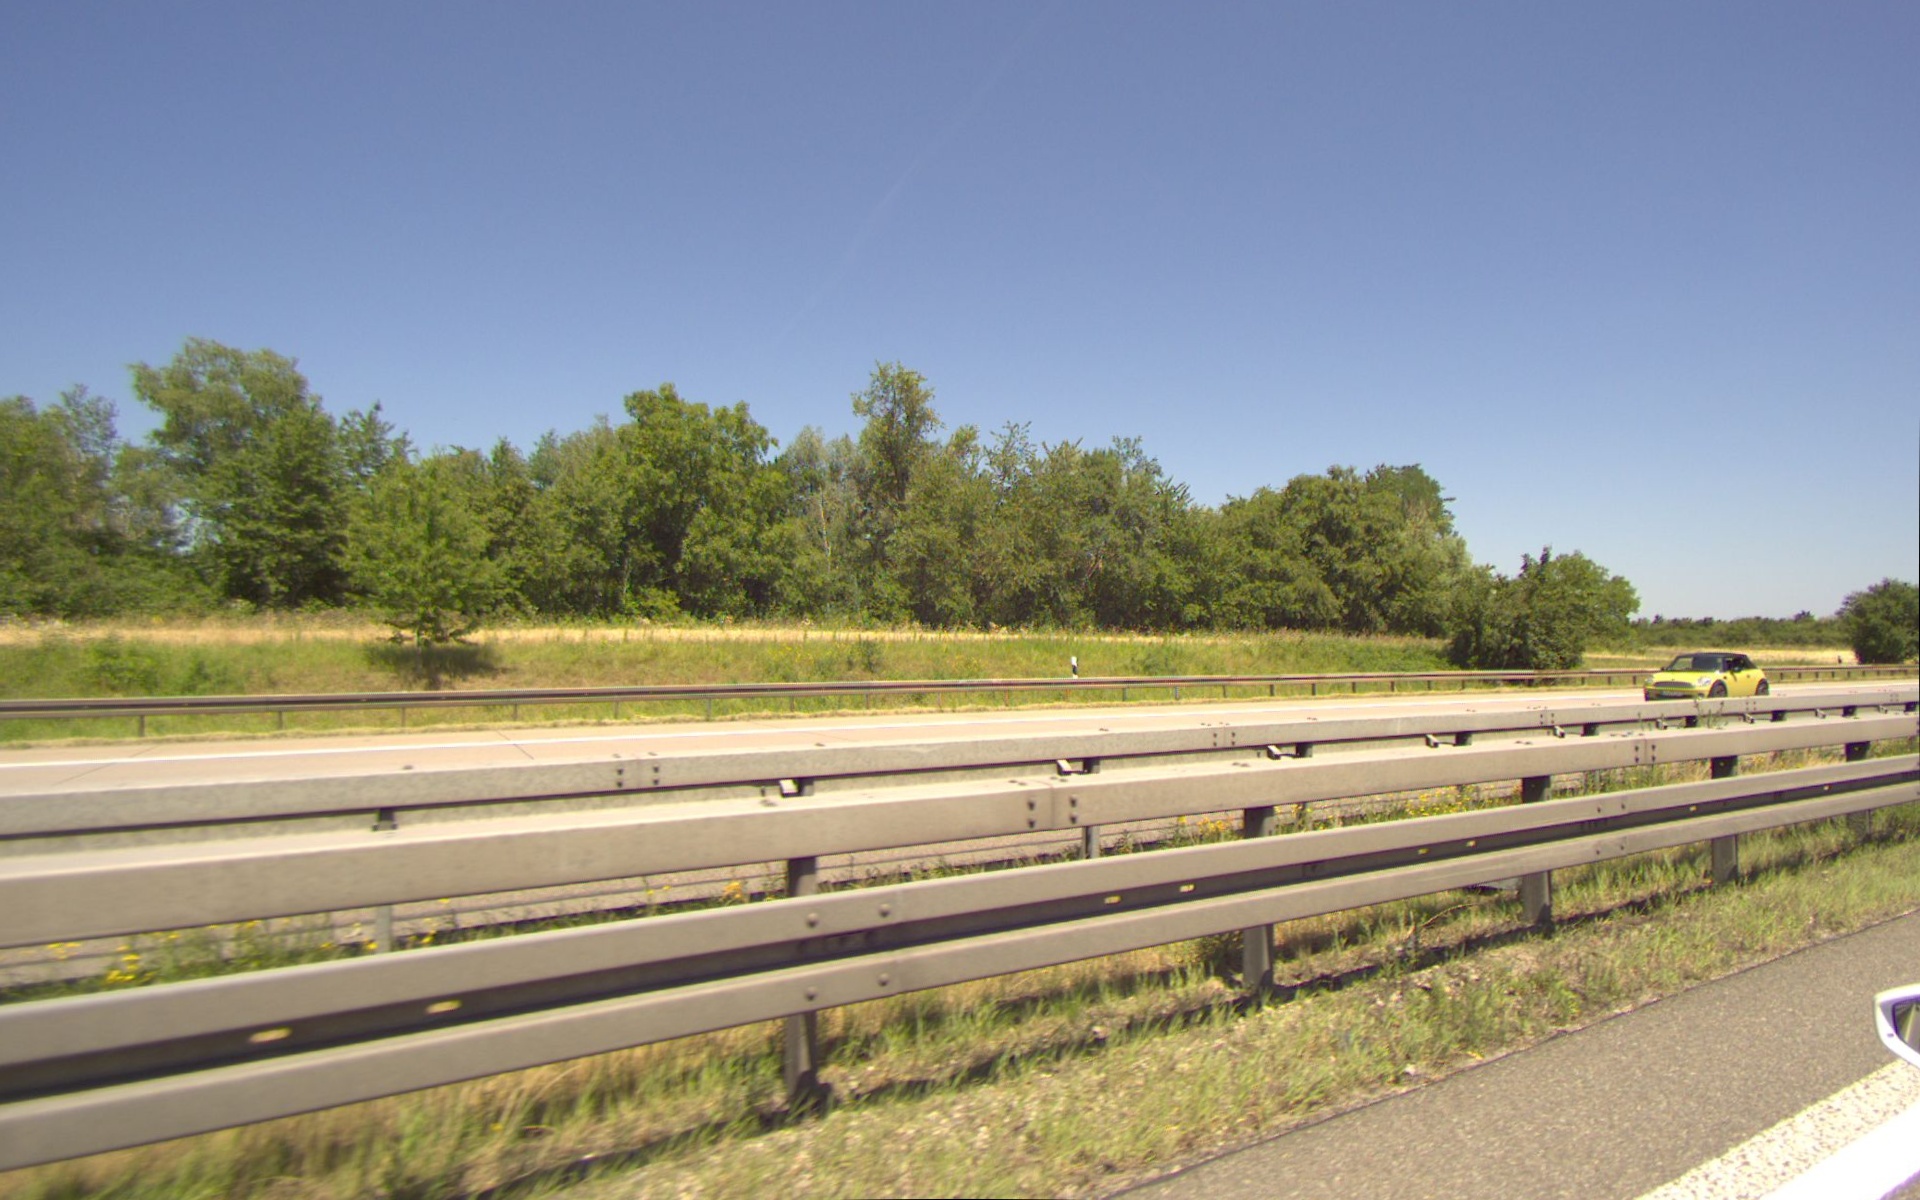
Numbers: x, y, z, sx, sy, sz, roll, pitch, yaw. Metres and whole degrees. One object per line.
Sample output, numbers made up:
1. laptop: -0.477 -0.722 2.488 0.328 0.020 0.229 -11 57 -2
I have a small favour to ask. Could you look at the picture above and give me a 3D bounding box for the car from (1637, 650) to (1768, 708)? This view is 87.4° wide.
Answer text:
1. car: 19.781 2.059 26.742 3.436 1.446 1.575 2 -3 -30
